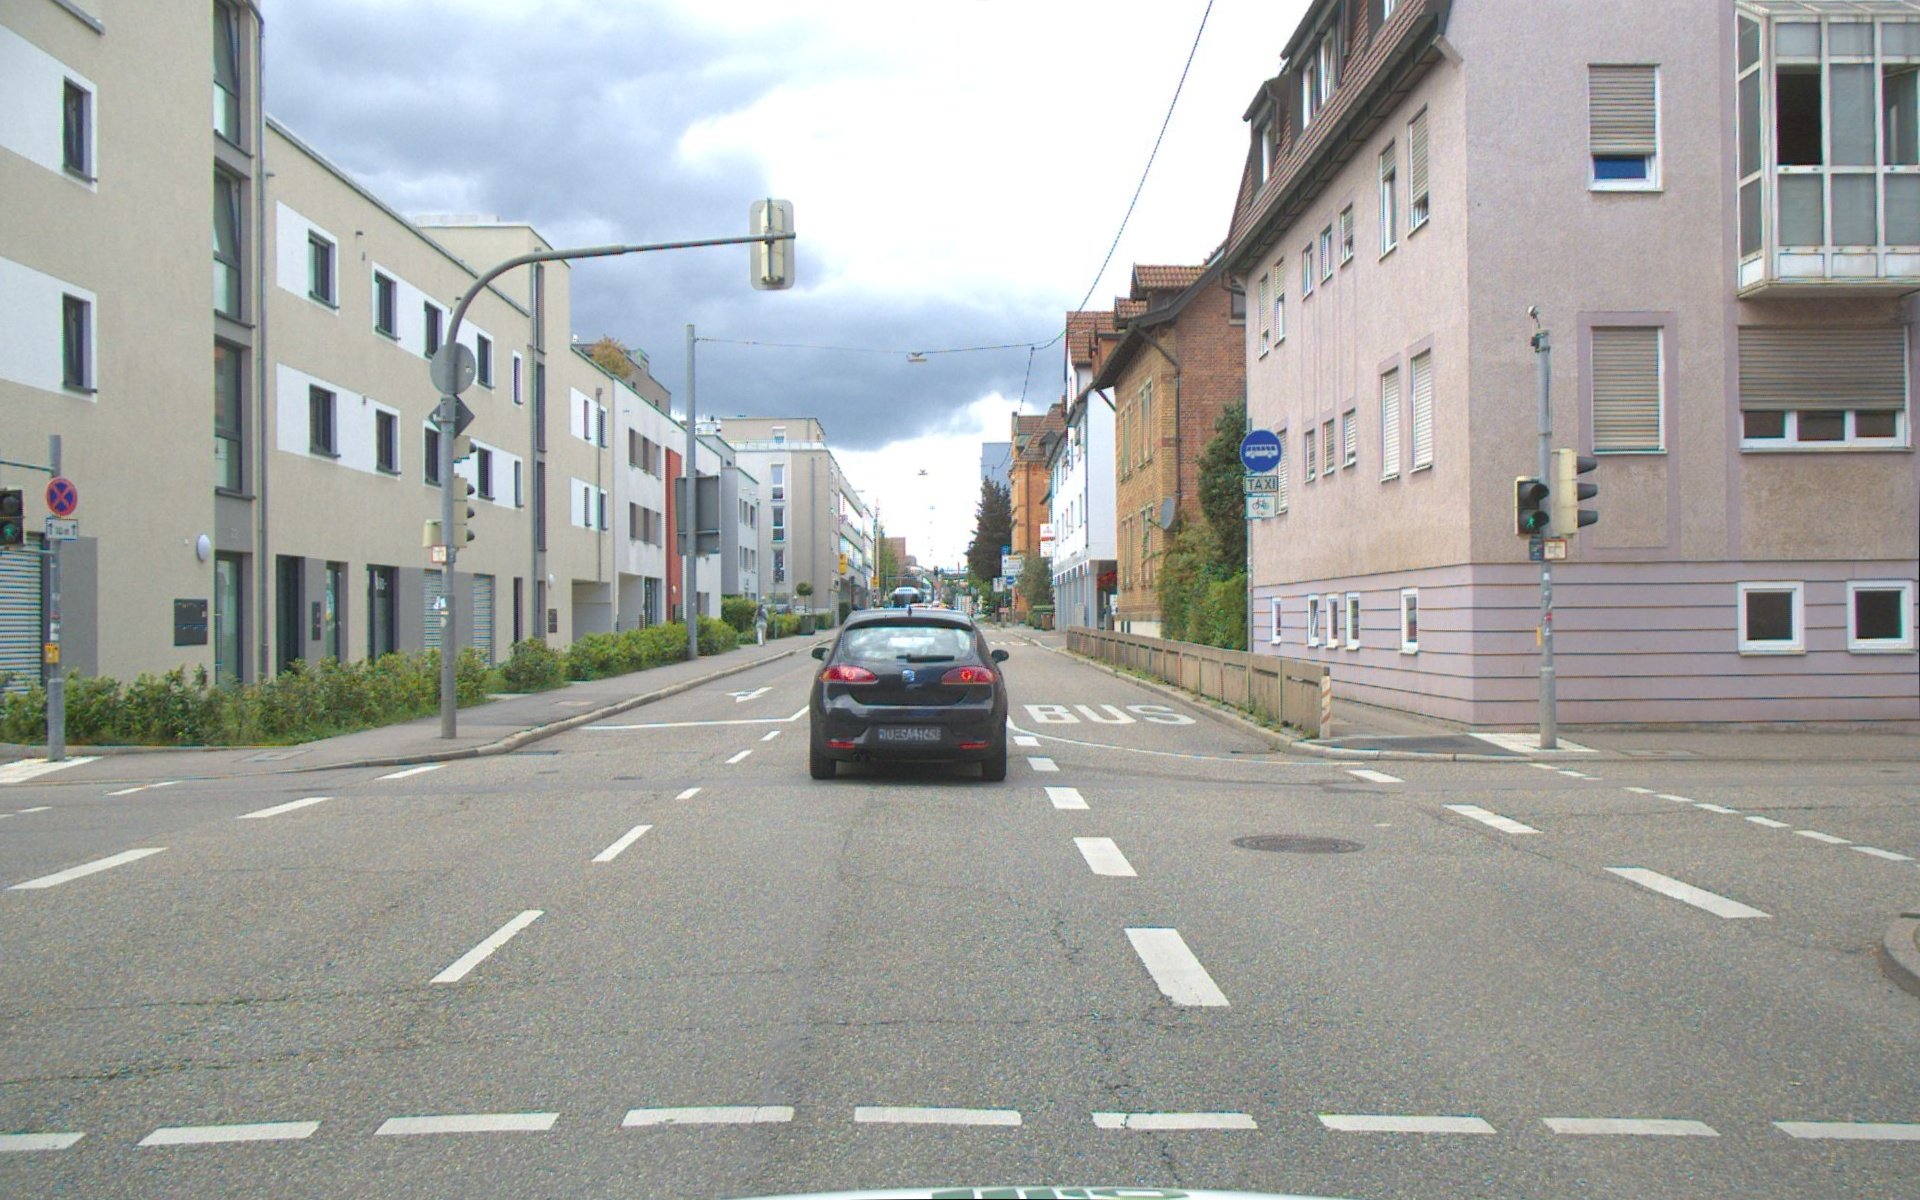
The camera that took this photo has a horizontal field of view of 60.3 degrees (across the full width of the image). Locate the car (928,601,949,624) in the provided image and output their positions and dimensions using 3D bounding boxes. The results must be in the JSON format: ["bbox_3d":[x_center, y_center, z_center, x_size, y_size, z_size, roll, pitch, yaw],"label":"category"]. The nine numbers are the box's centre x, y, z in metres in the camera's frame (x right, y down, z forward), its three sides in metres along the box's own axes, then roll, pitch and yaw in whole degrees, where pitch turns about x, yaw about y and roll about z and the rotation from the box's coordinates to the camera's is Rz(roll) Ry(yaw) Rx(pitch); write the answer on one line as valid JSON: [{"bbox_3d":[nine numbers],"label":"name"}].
[{"bbox_3d":[-1.594,0.934,122.415,1.500,1.723,3.692,1,-1,-1],"label":"car"}]

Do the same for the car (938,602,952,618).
[{"bbox_3d":[-1.758,1.161,190.408,1.500,1.723,3.692,-1,0,-1],"label":"car"}]

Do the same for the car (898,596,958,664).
[{"bbox_3d":[-0.852,0.794,44.285,1.500,1.723,3.692,1,-1,-1],"label":"car"}]

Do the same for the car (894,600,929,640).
[{"bbox_3d":[-2.165,0.904,73.802,1.500,1.723,3.692,1,-1,-1],"label":"car"}]

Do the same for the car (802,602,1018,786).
[{"bbox_3d":[-0.421,0.780,15.307,1.723,1.467,3.999,1,-1,-1],"label":"car"}]

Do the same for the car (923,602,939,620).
[{"bbox_3d":[-2.876,1.097,163.481,1.500,1.723,3.692,0,0,-1],"label":"car"}]

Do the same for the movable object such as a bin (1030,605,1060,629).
[{"bbox_3d":[5.230,1.062,101.748,1.780,1.462,1.992,1,-1,0],"label":"movable object such as a bin"}]

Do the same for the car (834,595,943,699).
[{"bbox_3d":[-1.223,0.809,29.514,1.805,1.723,3.999,1,-1,-1],"label":"car"}]

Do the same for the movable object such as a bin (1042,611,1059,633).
[{"bbox_3d":[5.322,1.310,97.319,0.909,1.306,0.883,1,-1,0],"label":"movable object such as a bin"}]

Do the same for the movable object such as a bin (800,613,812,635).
[{"bbox_3d":[-7.836,1.240,84.258,0.538,1.097,0.611,1,-1,0],"label":"movable object such as a bin"}]

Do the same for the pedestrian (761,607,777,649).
[{"bbox_3d":[-7.228,1.052,62.560,0.516,1.575,0.541,1,-1,-1],"label":"pedestrian"}]

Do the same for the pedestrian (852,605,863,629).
[{"bbox_3d":[-7.343,1.217,118.824,0.716,1.759,0.859,1,-1,-2],"label":"pedestrian"}]

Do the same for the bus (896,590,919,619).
[{"bbox_3d":[-5.366,0.498,170.324,2.165,2.937,8.917,1,-1,-1],"label":"bus"}]
